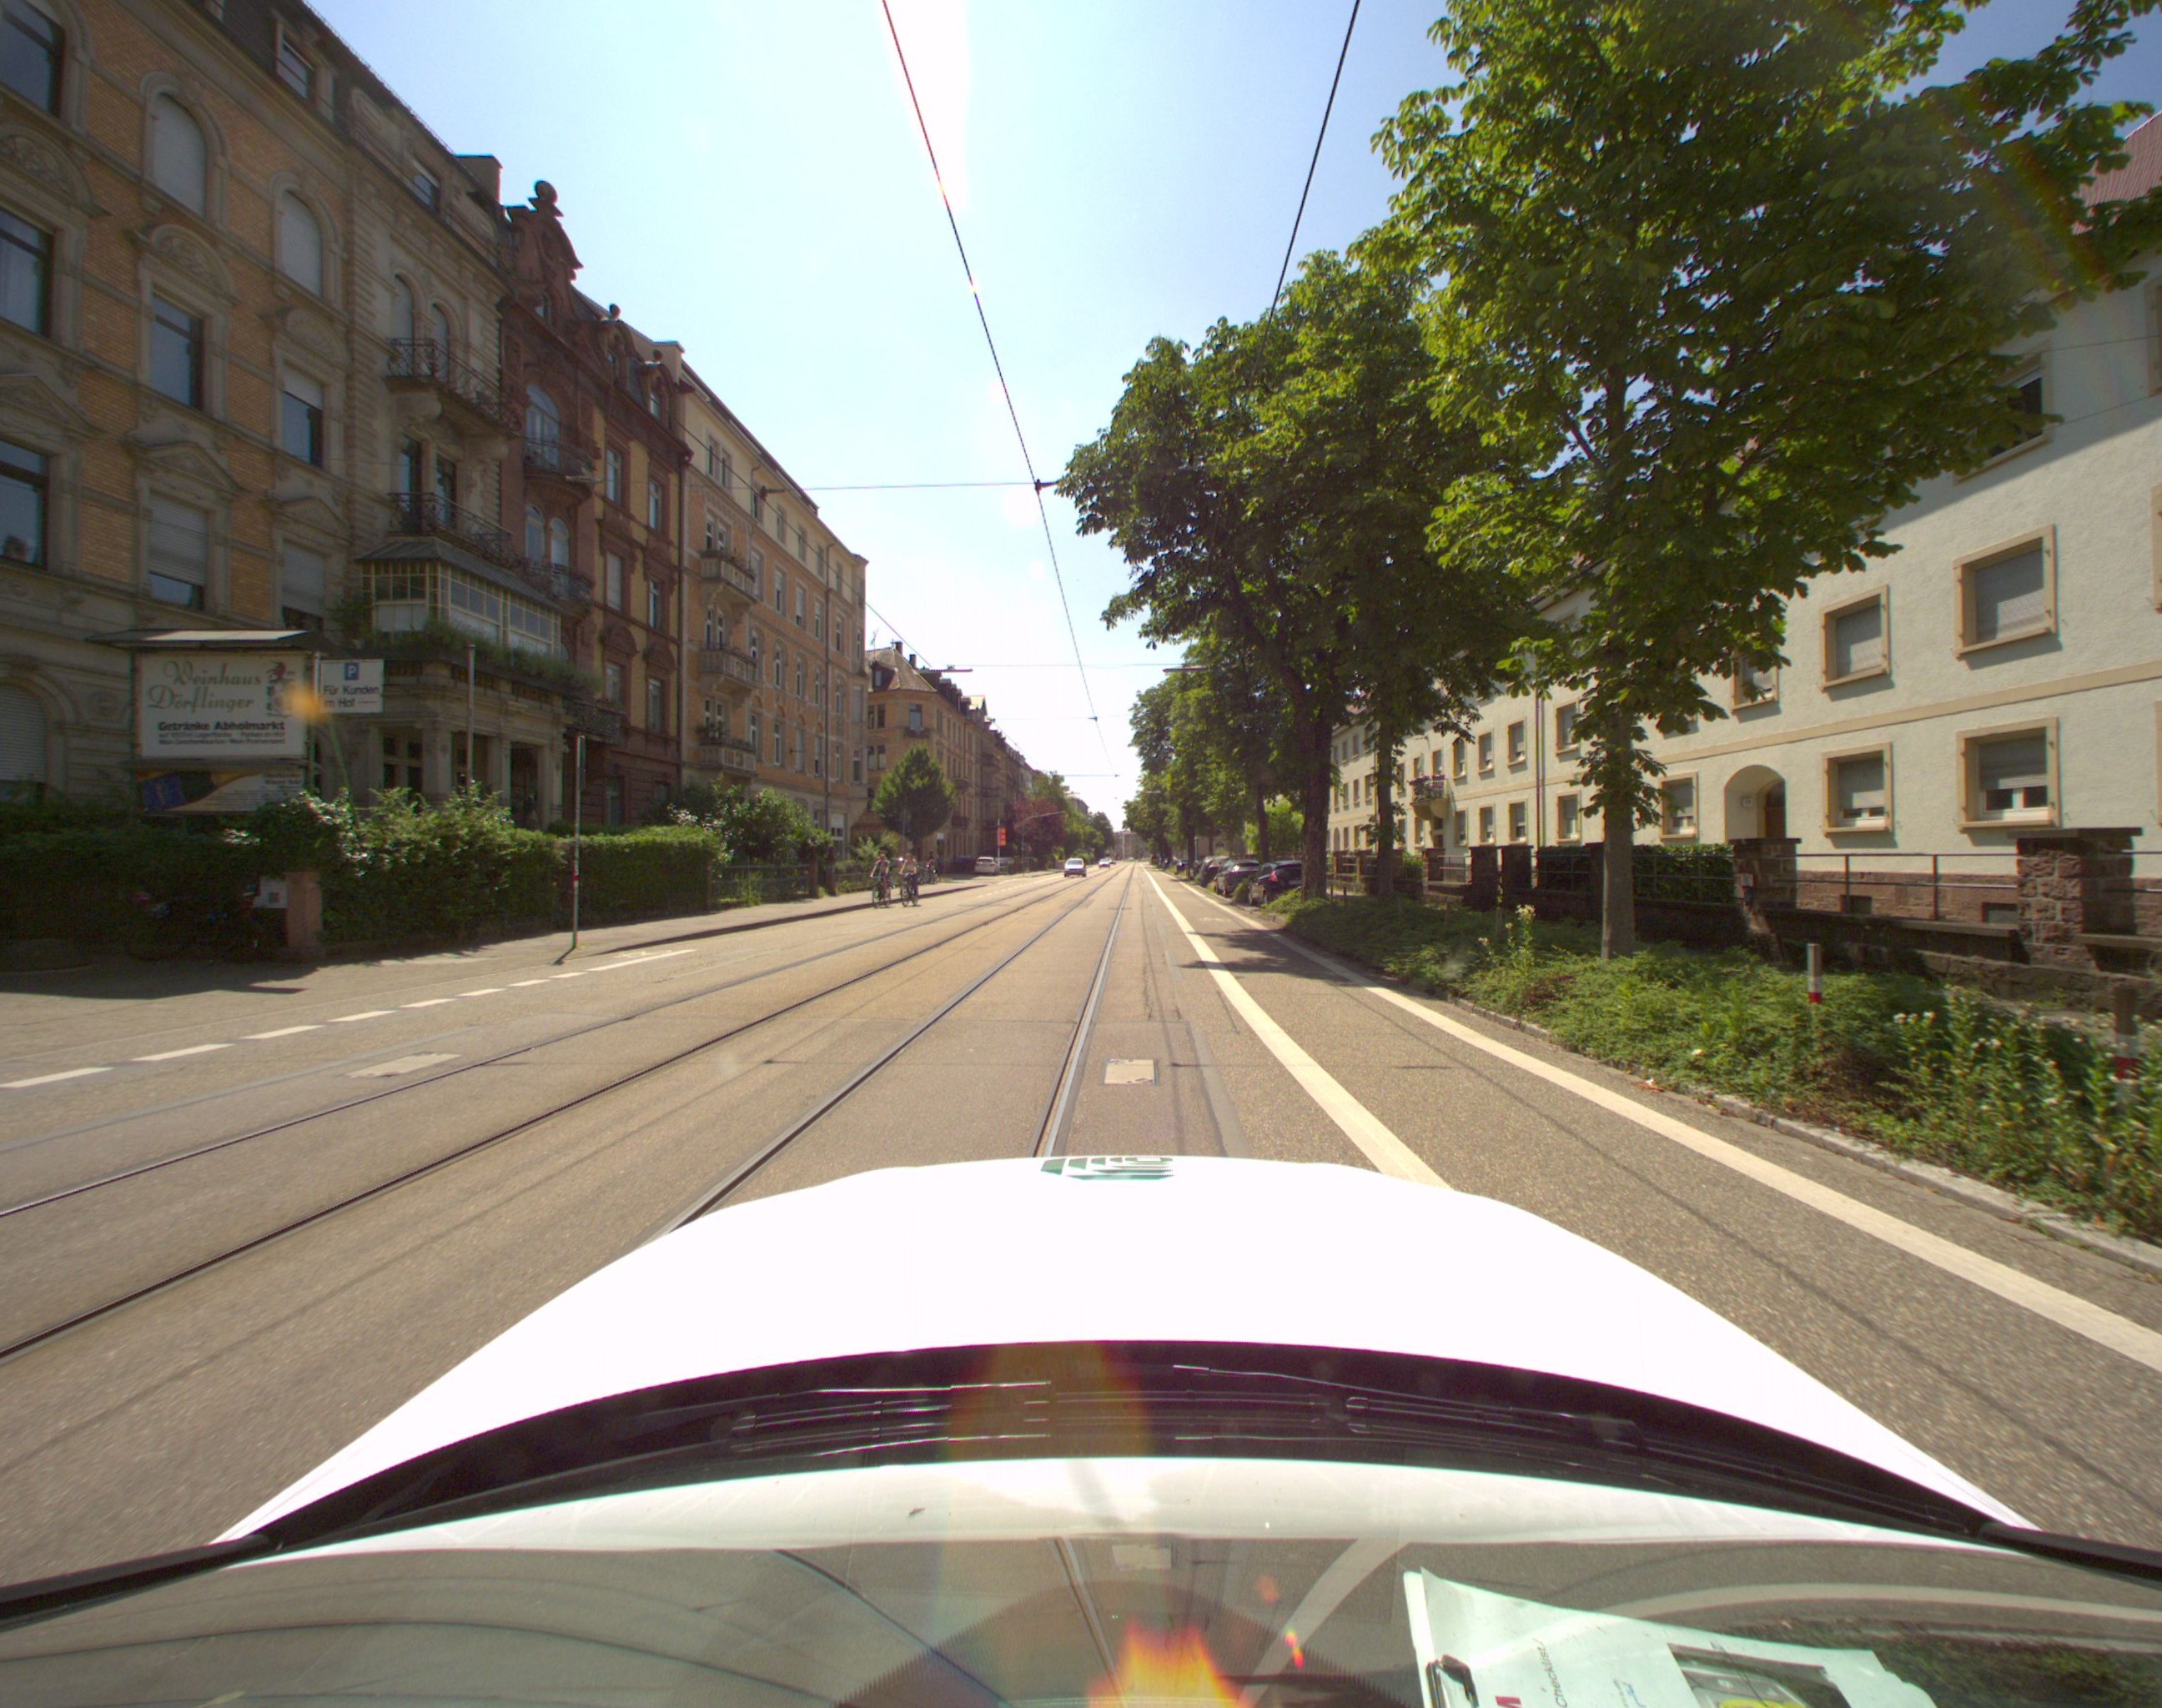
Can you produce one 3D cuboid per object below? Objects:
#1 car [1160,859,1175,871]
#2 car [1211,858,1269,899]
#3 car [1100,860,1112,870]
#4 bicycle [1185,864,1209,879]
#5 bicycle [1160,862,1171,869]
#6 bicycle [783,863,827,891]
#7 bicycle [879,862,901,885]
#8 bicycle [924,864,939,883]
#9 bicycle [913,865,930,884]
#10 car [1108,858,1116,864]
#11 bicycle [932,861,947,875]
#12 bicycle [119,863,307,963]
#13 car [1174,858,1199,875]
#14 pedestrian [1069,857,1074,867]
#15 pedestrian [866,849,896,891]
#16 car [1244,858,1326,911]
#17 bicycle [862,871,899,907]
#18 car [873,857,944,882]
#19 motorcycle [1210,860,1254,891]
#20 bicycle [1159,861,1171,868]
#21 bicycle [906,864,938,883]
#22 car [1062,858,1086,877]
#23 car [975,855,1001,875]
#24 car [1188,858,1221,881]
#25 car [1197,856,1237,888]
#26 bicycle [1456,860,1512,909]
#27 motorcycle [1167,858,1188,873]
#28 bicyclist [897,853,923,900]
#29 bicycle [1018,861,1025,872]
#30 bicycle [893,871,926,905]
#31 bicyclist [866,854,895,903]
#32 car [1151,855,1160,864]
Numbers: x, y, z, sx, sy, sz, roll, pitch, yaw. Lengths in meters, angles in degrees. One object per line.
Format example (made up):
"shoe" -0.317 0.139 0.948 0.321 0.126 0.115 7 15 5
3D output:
"car" 11.843 1.485 111.236 1.766 1.501 4.308 -1 0 3
"car" 6.591 0.971 34.129 1.726 1.552 4.456 0 0 2
"car" 3.902 1.700 126.687 1.748 1.424 4.005 -1 -1 4
"bicycle" 8.504 1.278 59.560 1.649 1.078 0.605 0 0 -4
"bicycle" 14.417 1.925 139.481 1.808 1.113 0.493 -1 -2 3
"bicycle" -10.432 0.855 30.783 1.503 1.043 0.496 0 0 5
"bicycle" -8.766 0.895 37.482 0.494 0.987 1.712 4 0 2
"bicycle" -8.189 1.076 44.652 0.437 0.983 1.712 0 0 2
"bicycle" -8.340 1.062 42.614 0.437 0.983 1.712 0 0 2
"car" 7.043 1.595 184.868 1.679 1.454 3.752 0 -1 4
"bicycle" -12.198 1.164 70.291 0.635 1.187 2.148 0 0 7
"bicycle" -11.586 0.771 10.899 1.864 1.227 0.568 2 0 0
"car" 9.579 1.105 74.418 1.762 1.426 4.863 0 0 1
"pedestrian" -1.580 1.282 131.954 0.749 1.629 0.833 0 -1 -2
"pedestrian" -8.555 0.667 34.794 0.847 1.723 1.140 3 0 4
"car" 6.293 0.883 25.529 1.651 1.515 4.001 0 0 1
"bicycle" -6.638 1.141 27.002 0.626 1.078 1.877 -1 0 3
"car" -10.168 0.920 48.168 3.743 1.428 1.715 0 -1 4
"motorcycle" 7.045 0.978 37.962 1.910 1.433 0.670 0 0 -6
"bicycle" 12.910 1.646 125.182 1.878 1.052 0.539 0 -1 10
"bicycle" -8.995 1.101 46.079 1.695 1.037 0.552 0 0 8
"car" -0.562 1.072 66.244 1.677 1.449 4.004 -1 0 3
"car" -8.043 0.951 70.758 1.860 1.600 4.099 1 0 -1
"car" 8.302 1.021 54.989 1.688 1.419 4.358 0 0 1
"car" 7.455 0.932 44.940 1.937 1.651 4.889 0 0 7
"bicycle" 10.738 0.784 21.780 0.594 1.209 1.972 -2 0 4
"motorcycle" 10.665 1.247 89.709 0.874 1.540 2.292 1 0 -43
"bicyclist" -5.736 0.731 27.350 0.590 1.544 0.953 -1 -1 3
"bicycle" -5.827 1.215 79.713 0.452 1.003 1.806 0 0 0
"bicycle" -5.731 1.123 27.330 0.579 1.078 1.892 -1 0 3
"bicyclist" -6.644 0.802 27.010 0.631 1.584 1.029 -1 0 3
"car" 16.838 1.244 184.246 1.984 2.035 4.702 0 0 4
